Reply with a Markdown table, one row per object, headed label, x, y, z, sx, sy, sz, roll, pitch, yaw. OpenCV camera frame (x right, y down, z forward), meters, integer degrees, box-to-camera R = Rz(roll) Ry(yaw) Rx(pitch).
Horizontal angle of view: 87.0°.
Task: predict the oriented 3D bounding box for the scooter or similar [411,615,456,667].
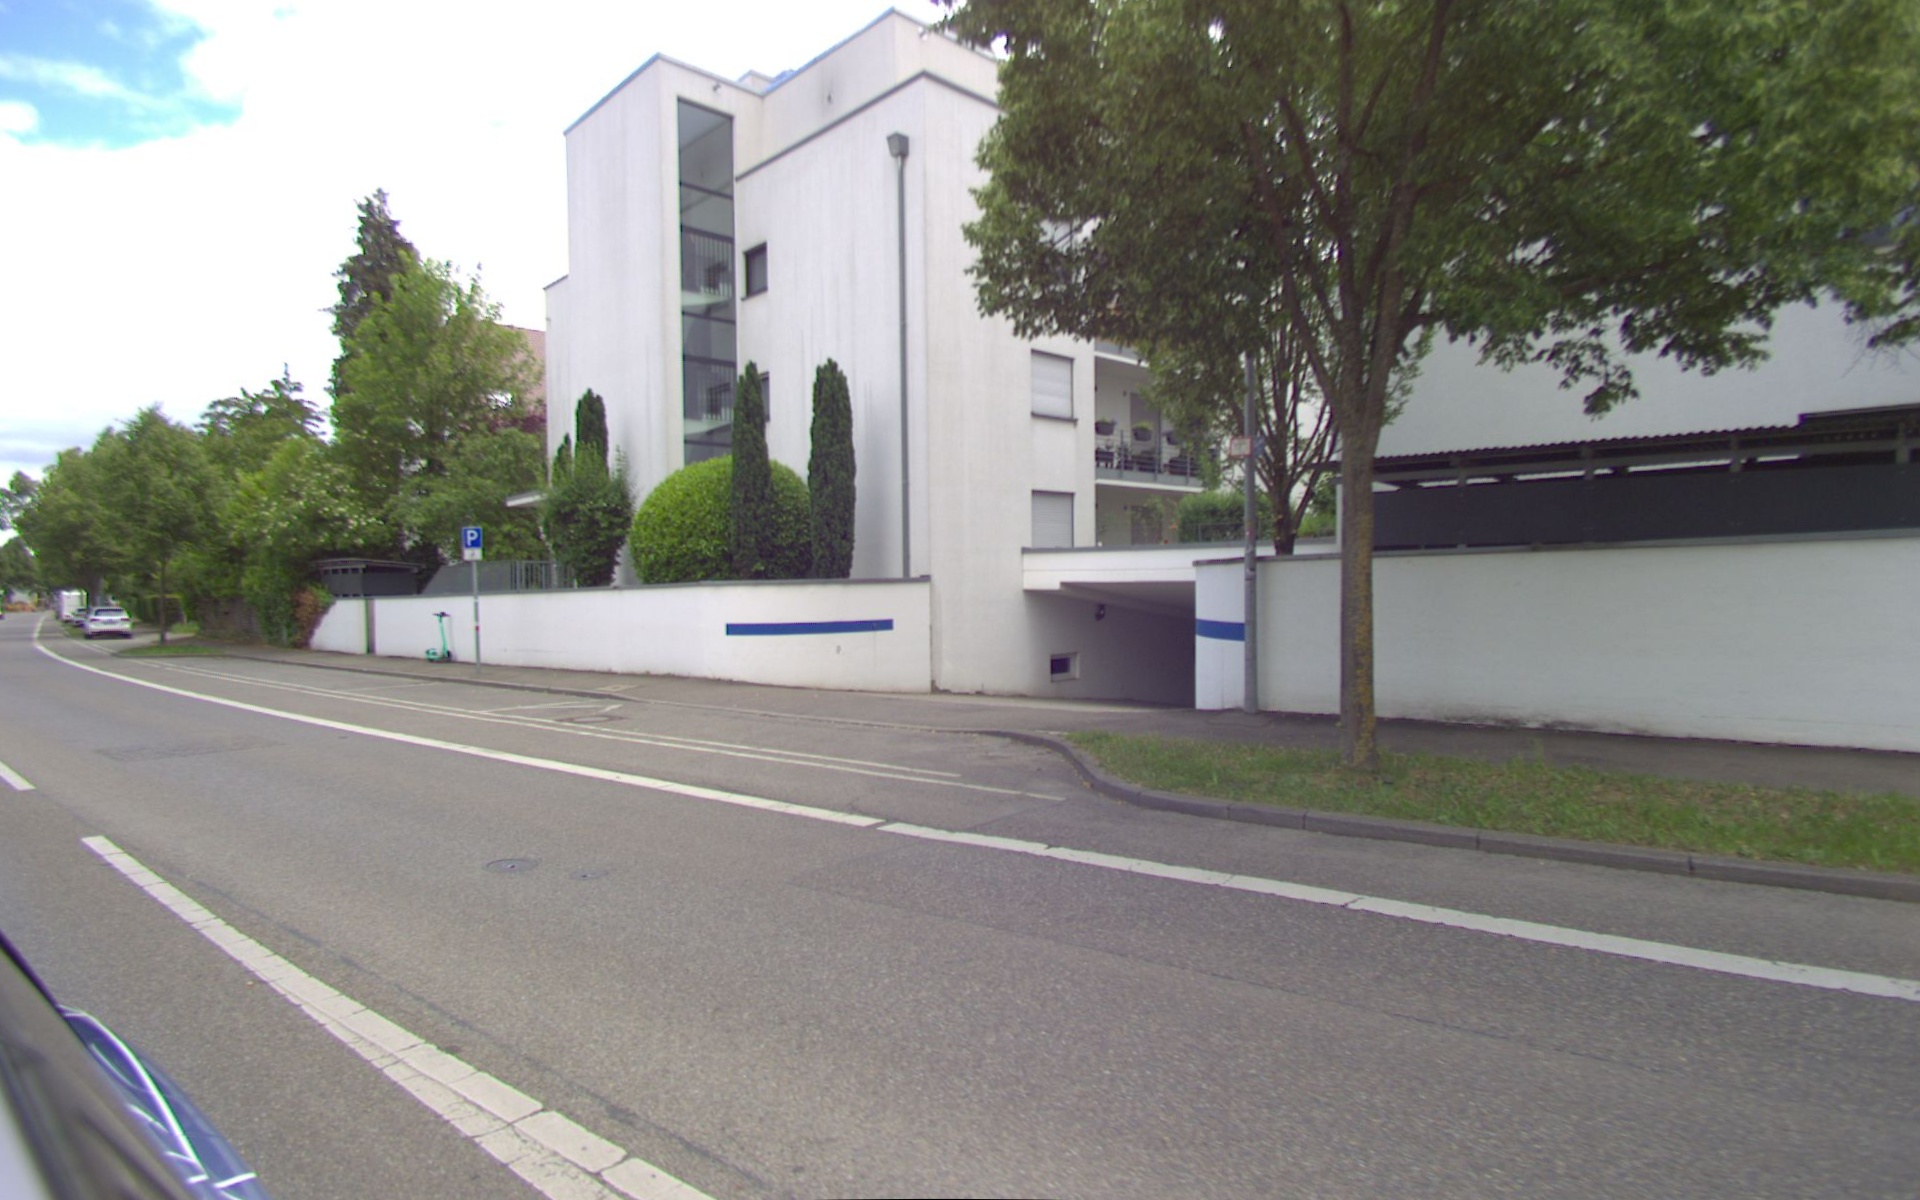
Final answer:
| label | x | y | z | sx | sy | sz | roll | pitch | yaw |
| --- | --- | --- | --- | --- | --- | --- | --- | --- | --- |
| scooter or similar | -12.527 | 0.962 | 24.066 | 1.327 | 1.174 | 0.429 | -1 | 3 | 42 |

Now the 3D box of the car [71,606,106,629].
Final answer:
| label | x | y | z | sx | sy | sz | roll | pitch | yaw |
| --- | --- | --- | --- | --- | --- | --- | --- | --- | --- |
| car | -62.856 | 1.245 | 72.986 | 1.862 | 1.628 | 4.005 | -1 | 0 | -42 |

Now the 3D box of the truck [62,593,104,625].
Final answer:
| label | x | y | z | sx | sy | sz | roll | pitch | yaw |
| --- | --- | --- | --- | --- | --- | --- | --- | --- | --- |
| truck | -80.192 | 0.766 | 92.486 | 2.604 | 2.794 | 6.263 | -1 | 1 | -43 |

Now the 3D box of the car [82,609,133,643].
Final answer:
| label | x | y | z | sx | sy | sz | roll | pitch | yaw |
| --- | --- | --- | --- | --- | --- | --- | --- | --- | --- |
| car | -44.451 | 1.350 | 52.737 | 1.889 | 1.665 | 4.005 | -1 | 0 | -42 |
